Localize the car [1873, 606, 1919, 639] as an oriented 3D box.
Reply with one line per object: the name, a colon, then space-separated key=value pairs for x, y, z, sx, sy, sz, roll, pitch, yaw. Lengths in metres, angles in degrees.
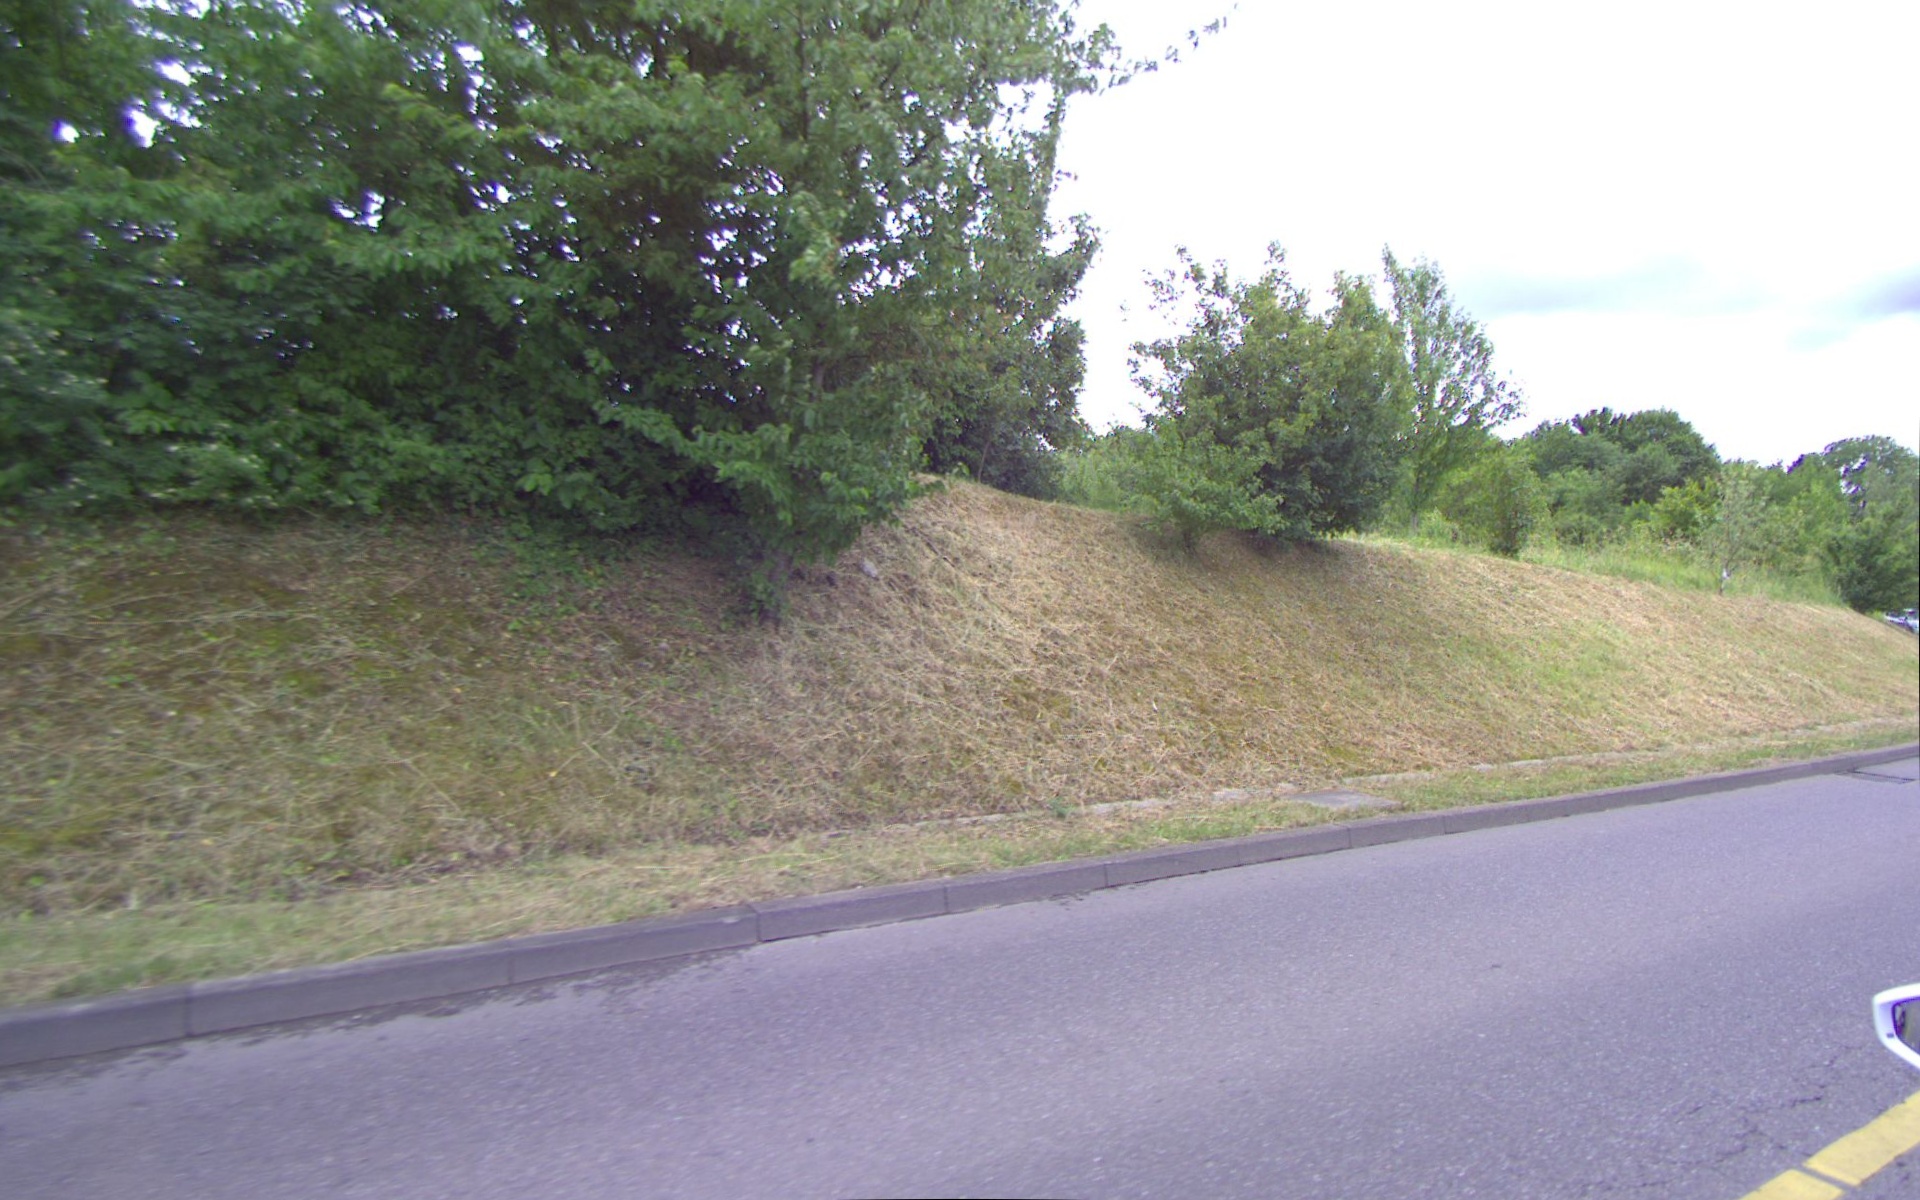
car: x=45.229 y=1.034 z=47.469 sx=1.852 sy=1.497 sz=4.596 roll=0 pitch=0 yaw=26
